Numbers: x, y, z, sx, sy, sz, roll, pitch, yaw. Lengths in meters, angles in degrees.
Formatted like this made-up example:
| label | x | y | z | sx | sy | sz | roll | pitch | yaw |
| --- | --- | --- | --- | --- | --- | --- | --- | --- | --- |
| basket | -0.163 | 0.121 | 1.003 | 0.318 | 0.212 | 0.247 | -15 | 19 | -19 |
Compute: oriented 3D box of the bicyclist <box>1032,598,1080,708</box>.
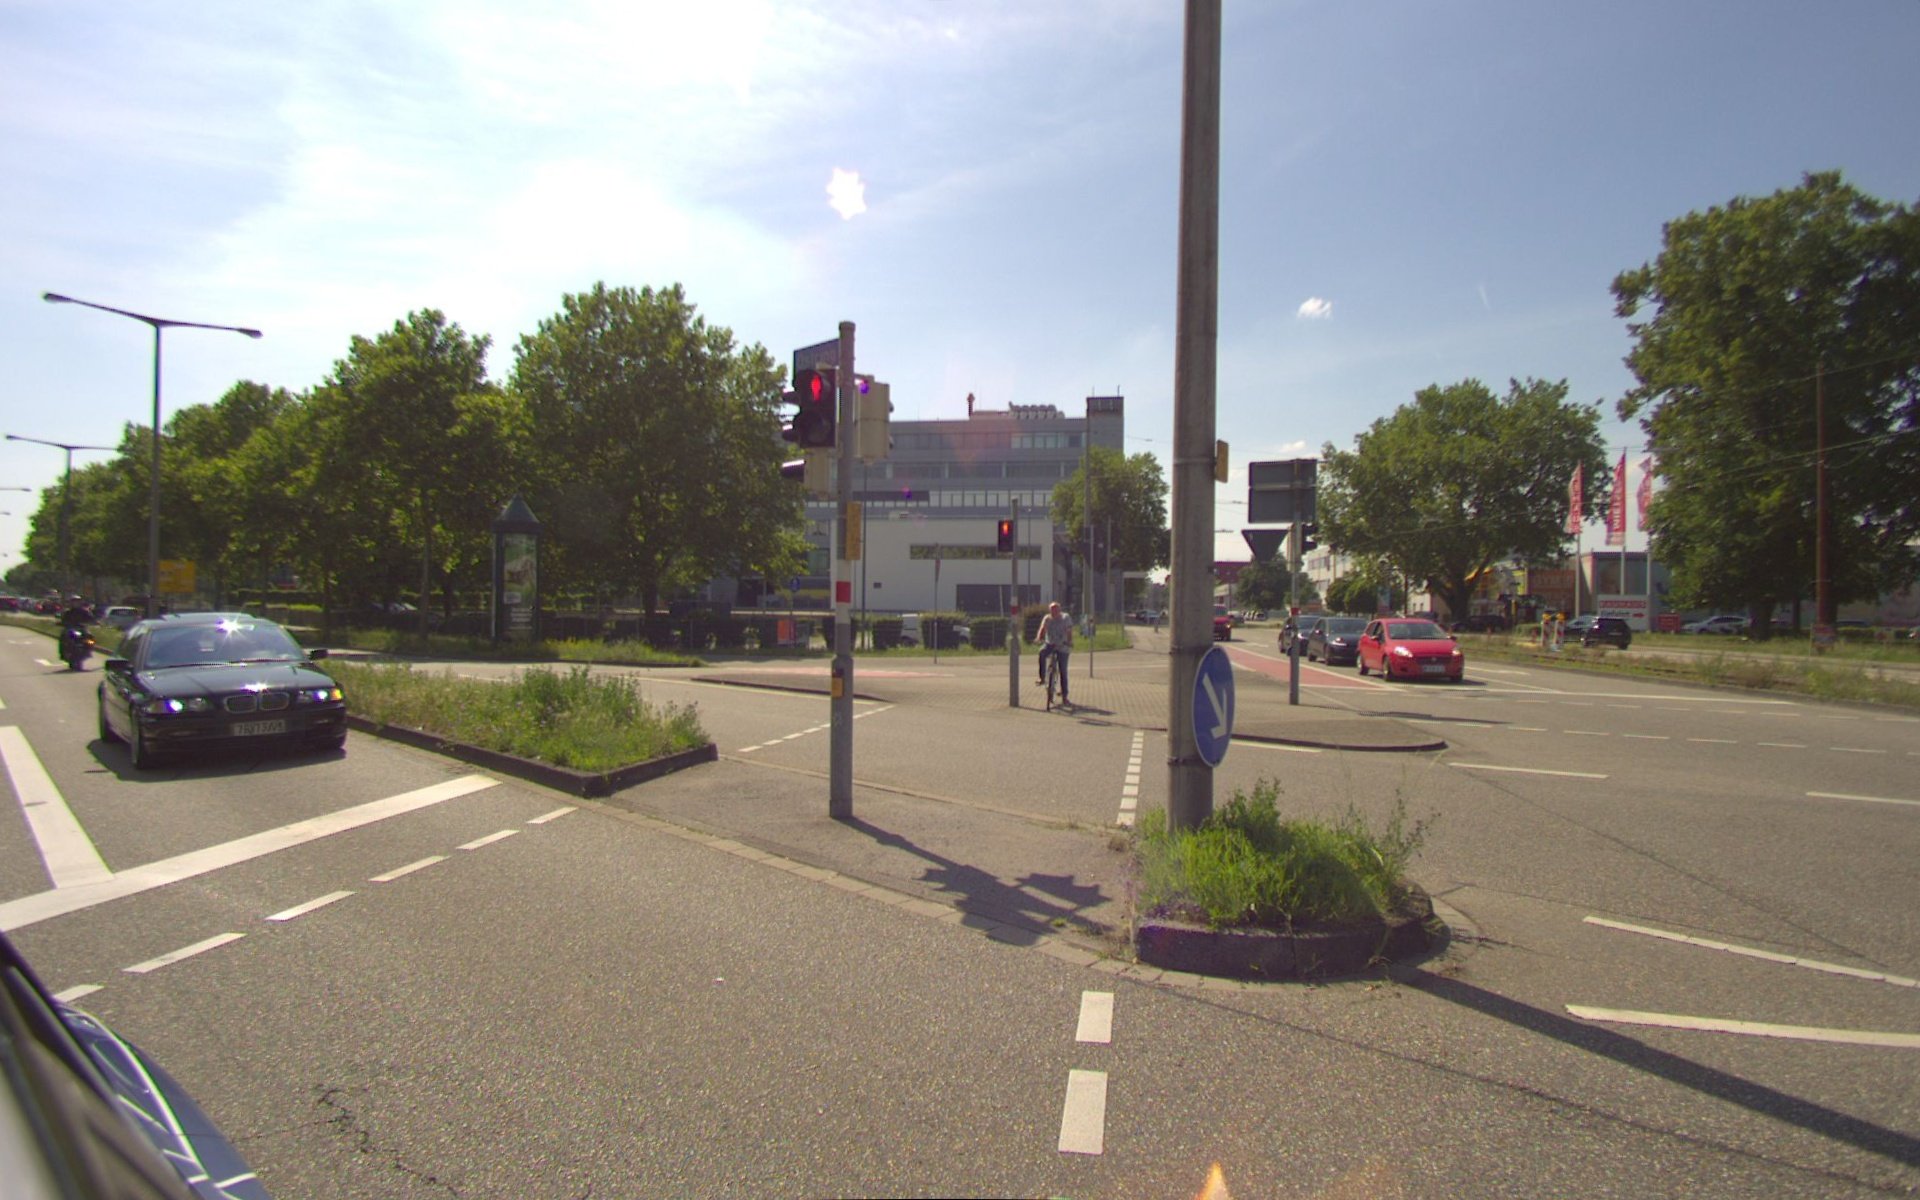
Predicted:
| label | x | y | z | sx | sy | sz | roll | pitch | yaw |
| --- | --- | --- | --- | --- | --- | --- | --- | --- | --- |
| bicyclist | 1.620 | 0.868 | 17.059 | 0.699 | 1.802 | 0.764 | 0 | -1 | 14 |

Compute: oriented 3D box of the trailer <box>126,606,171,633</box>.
| label | x | y | z | sx | sy | sz | roll | pitch | yaw |
| --- | --- | --- | --- | --- | --- | --- | --- | --- | --- |
| trailer | -55.436 | 1.320 | 69.148 | 2.038 | 1.729 | 3.994 | 1 | -1 | -44 |

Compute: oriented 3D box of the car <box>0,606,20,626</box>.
| label | x | y | z | sx | sy | sz | roll | pitch | yaw |
| --- | --- | --- | --- | --- | --- | --- | --- | --- | --- |
| car | -101.737 | 1.705 | 107.890 | 4.001 | 2.029 | 1.971 | -1 | -1 | 44 |

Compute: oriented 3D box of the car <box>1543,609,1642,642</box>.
| label | x | y | z | sx | sy | sz | roll | pitch | yaw |
| --- | --- | --- | --- | --- | --- | --- | --- | --- | --- |
| car | 29.137 | 1.171 | 46.788 | 1.763 | 1.454 | 4.224 | 0 | -1 | -2 |

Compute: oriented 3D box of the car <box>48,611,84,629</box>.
| label | x | y | z | sx | sy | sz | roll | pitch | yaw |
| --- | --- | --- | --- | --- | --- | --- | --- | --- | --- |
| car | -72.081 | 1.593 | 81.553 | 3.767 | 1.445 | 1.828 | -1 | -1 | 43 |

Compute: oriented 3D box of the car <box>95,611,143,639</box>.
| label | x | y | z | sx | sy | sz | roll | pitch | yaw |
| --- | --- | --- | --- | --- | --- | --- | --- | --- | --- |
| car | -46.534 | 1.352 | 56.007 | 3.737 | 1.525 | 1.631 | -1 | -1 | 44 |

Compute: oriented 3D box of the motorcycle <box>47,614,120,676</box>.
| label | x | y | z | sx | sy | sz | roll | pitch | yaw |
| --- | --- | --- | --- | --- | --- | --- | --- | --- | --- |
| motorcycle | -20.092 | 0.993 | 23.182 | 2.332 | 1.361 | 1.037 | -1 | -1 | 43 |

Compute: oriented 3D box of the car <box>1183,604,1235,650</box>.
| label | x | y | z | sx | sy | sz | roll | pitch | yaw |
| --- | --- | --- | --- | --- | --- | --- | --- | --- | --- |
| car | 13.273 | 1.420 | 54.217 | 2.126 | 2.295 | 5.030 | 0 | -1 | 7 |

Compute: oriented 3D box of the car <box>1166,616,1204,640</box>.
| label | x | y | z | sx | sy | sz | roll | pitch | yaw |
| --- | --- | --- | --- | --- | --- | --- | --- | --- | --- |
| car | 16.269 | 2.020 | 73.376 | 1.973 | 1.712 | 3.997 | 0 | -1 | 2 |

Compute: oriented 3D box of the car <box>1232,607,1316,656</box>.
| label | x | y | z | sx | sy | sz | roll | pitch | yaw |
| --- | --- | --- | --- | --- | --- | --- | --- | --- | --- |
| car | 11.629 | 1.135 | 37.740 | 1.973 | 1.712 | 3.997 | 0 | -1 | 2 |

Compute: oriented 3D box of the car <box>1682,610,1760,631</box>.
| label | x | y | z | sx | sy | sz | roll | pitch | yaw |
| --- | --- | --- | --- | --- | --- | --- | --- | --- | --- |
| car | 58.313 | 1.536 | 77.640 | 4.337 | 1.576 | 1.868 | 0 | -1 | 12 |

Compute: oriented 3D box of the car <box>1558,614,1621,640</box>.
| label | x | y | z | sx | sy | sz | roll | pitch | yaw |
| --- | --- | --- | --- | --- | --- | --- | --- | --- | --- |
| car | 49.057 | 2.075 | 78.989 | 3.981 | 2.029 | 1.981 | 0 | -1 | 28 |

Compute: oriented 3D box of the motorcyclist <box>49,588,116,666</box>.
| label | x | y | z | sx | sy | sz | roll | pitch | yaw |
| --- | --- | --- | --- | --- | --- | --- | --- | --- | --- |
| motorcyclist | -20.094 | 0.606 | 23.181 | 1.042 | 1.712 | 1.052 | -1 | -1 | 43 |

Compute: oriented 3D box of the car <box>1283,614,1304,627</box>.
| label | x | y | z | sx | sy | sz | roll | pitch | yaw |
| --- | --- | --- | --- | --- | --- | --- | --- | --- | --- |
| car | 38.328 | 2.379 | 116.456 | 1.681 | 1.438 | 3.849 | 0 | -1 | 9 |

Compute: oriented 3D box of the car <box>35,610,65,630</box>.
| label | x | y | z | sx | sy | sz | roll | pitch | yaw |
| --- | --- | --- | --- | --- | --- | --- | --- | --- | --- |
| car | -92.172 | 2.006 | 102.490 | 4.001 | 2.029 | 1.971 | -1 | -1 | 44 |

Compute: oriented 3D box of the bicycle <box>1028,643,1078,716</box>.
| label | x | y | z | sx | sy | sz | roll | pitch | yaw |
| --- | --- | --- | --- | --- | --- | --- | --- | --- | --- |
| bicycle | 1.595 | 1.301 | 17.076 | 0.520 | 1.072 | 2.155 | 0 | -1 | 14 |

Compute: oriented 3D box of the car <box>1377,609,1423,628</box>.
| label | x | y | z | sx | sy | sz | roll | pitch | yaw |
| --- | --- | --- | --- | --- | --- | --- | --- | --- | --- |
| car | 33.264 | 1.389 | 76.599 | 1.766 | 1.454 | 4.218 | 0 | -1 | 3 |

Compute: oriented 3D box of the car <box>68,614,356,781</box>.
| label | x | y | z | sx | sy | sz | roll | pitch | yaw |
| --- | --- | --- | --- | --- | --- | --- | --- | --- | --- |
| car | -7.956 | 0.860 | 10.619 | 4.067 | 1.372 | 1.707 | -1 | 0 | 43 |

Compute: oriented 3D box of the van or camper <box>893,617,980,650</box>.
| label | x | y | z | sx | sy | sz | roll | pitch | yaw |
| --- | --- | --- | --- | --- | --- | --- | --- | --- | --- |
| van or camper | -1.220 | 1.778 | 53.722 | 4.457 | 1.704 | 1.996 | 0 | -1 | 6 |

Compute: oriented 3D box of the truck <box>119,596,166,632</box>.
| label | x | y | z | sx | sy | sz | roll | pitch | yaw |
| --- | --- | --- | --- | --- | --- | --- | --- | --- | --- |
| truck | -59.227 | 0.984 | 73.255 | 2.114 | 2.494 | 7.135 | 1 | -1 | -43 |

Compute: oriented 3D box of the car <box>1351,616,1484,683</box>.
| label | x | y | z | sx | sy | sz | roll | pitch | yaw |
| --- | --- | --- | --- | --- | --- | --- | --- | --- | --- |
| car | 10.924 | 1.131 | 24.483 | 1.825 | 1.460 | 3.990 | 0 | -1 | 8 |

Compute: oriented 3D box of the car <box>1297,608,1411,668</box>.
| label | x | y | z | sx | sy | sz | roll | pitch | yaw |
| --- | --- | --- | --- | --- | --- | --- | --- | --- | --- |
| car | 11.997 | 1.114 | 31.142 | 1.972 | 1.712 | 3.998 | 0 | -1 | 1 |
